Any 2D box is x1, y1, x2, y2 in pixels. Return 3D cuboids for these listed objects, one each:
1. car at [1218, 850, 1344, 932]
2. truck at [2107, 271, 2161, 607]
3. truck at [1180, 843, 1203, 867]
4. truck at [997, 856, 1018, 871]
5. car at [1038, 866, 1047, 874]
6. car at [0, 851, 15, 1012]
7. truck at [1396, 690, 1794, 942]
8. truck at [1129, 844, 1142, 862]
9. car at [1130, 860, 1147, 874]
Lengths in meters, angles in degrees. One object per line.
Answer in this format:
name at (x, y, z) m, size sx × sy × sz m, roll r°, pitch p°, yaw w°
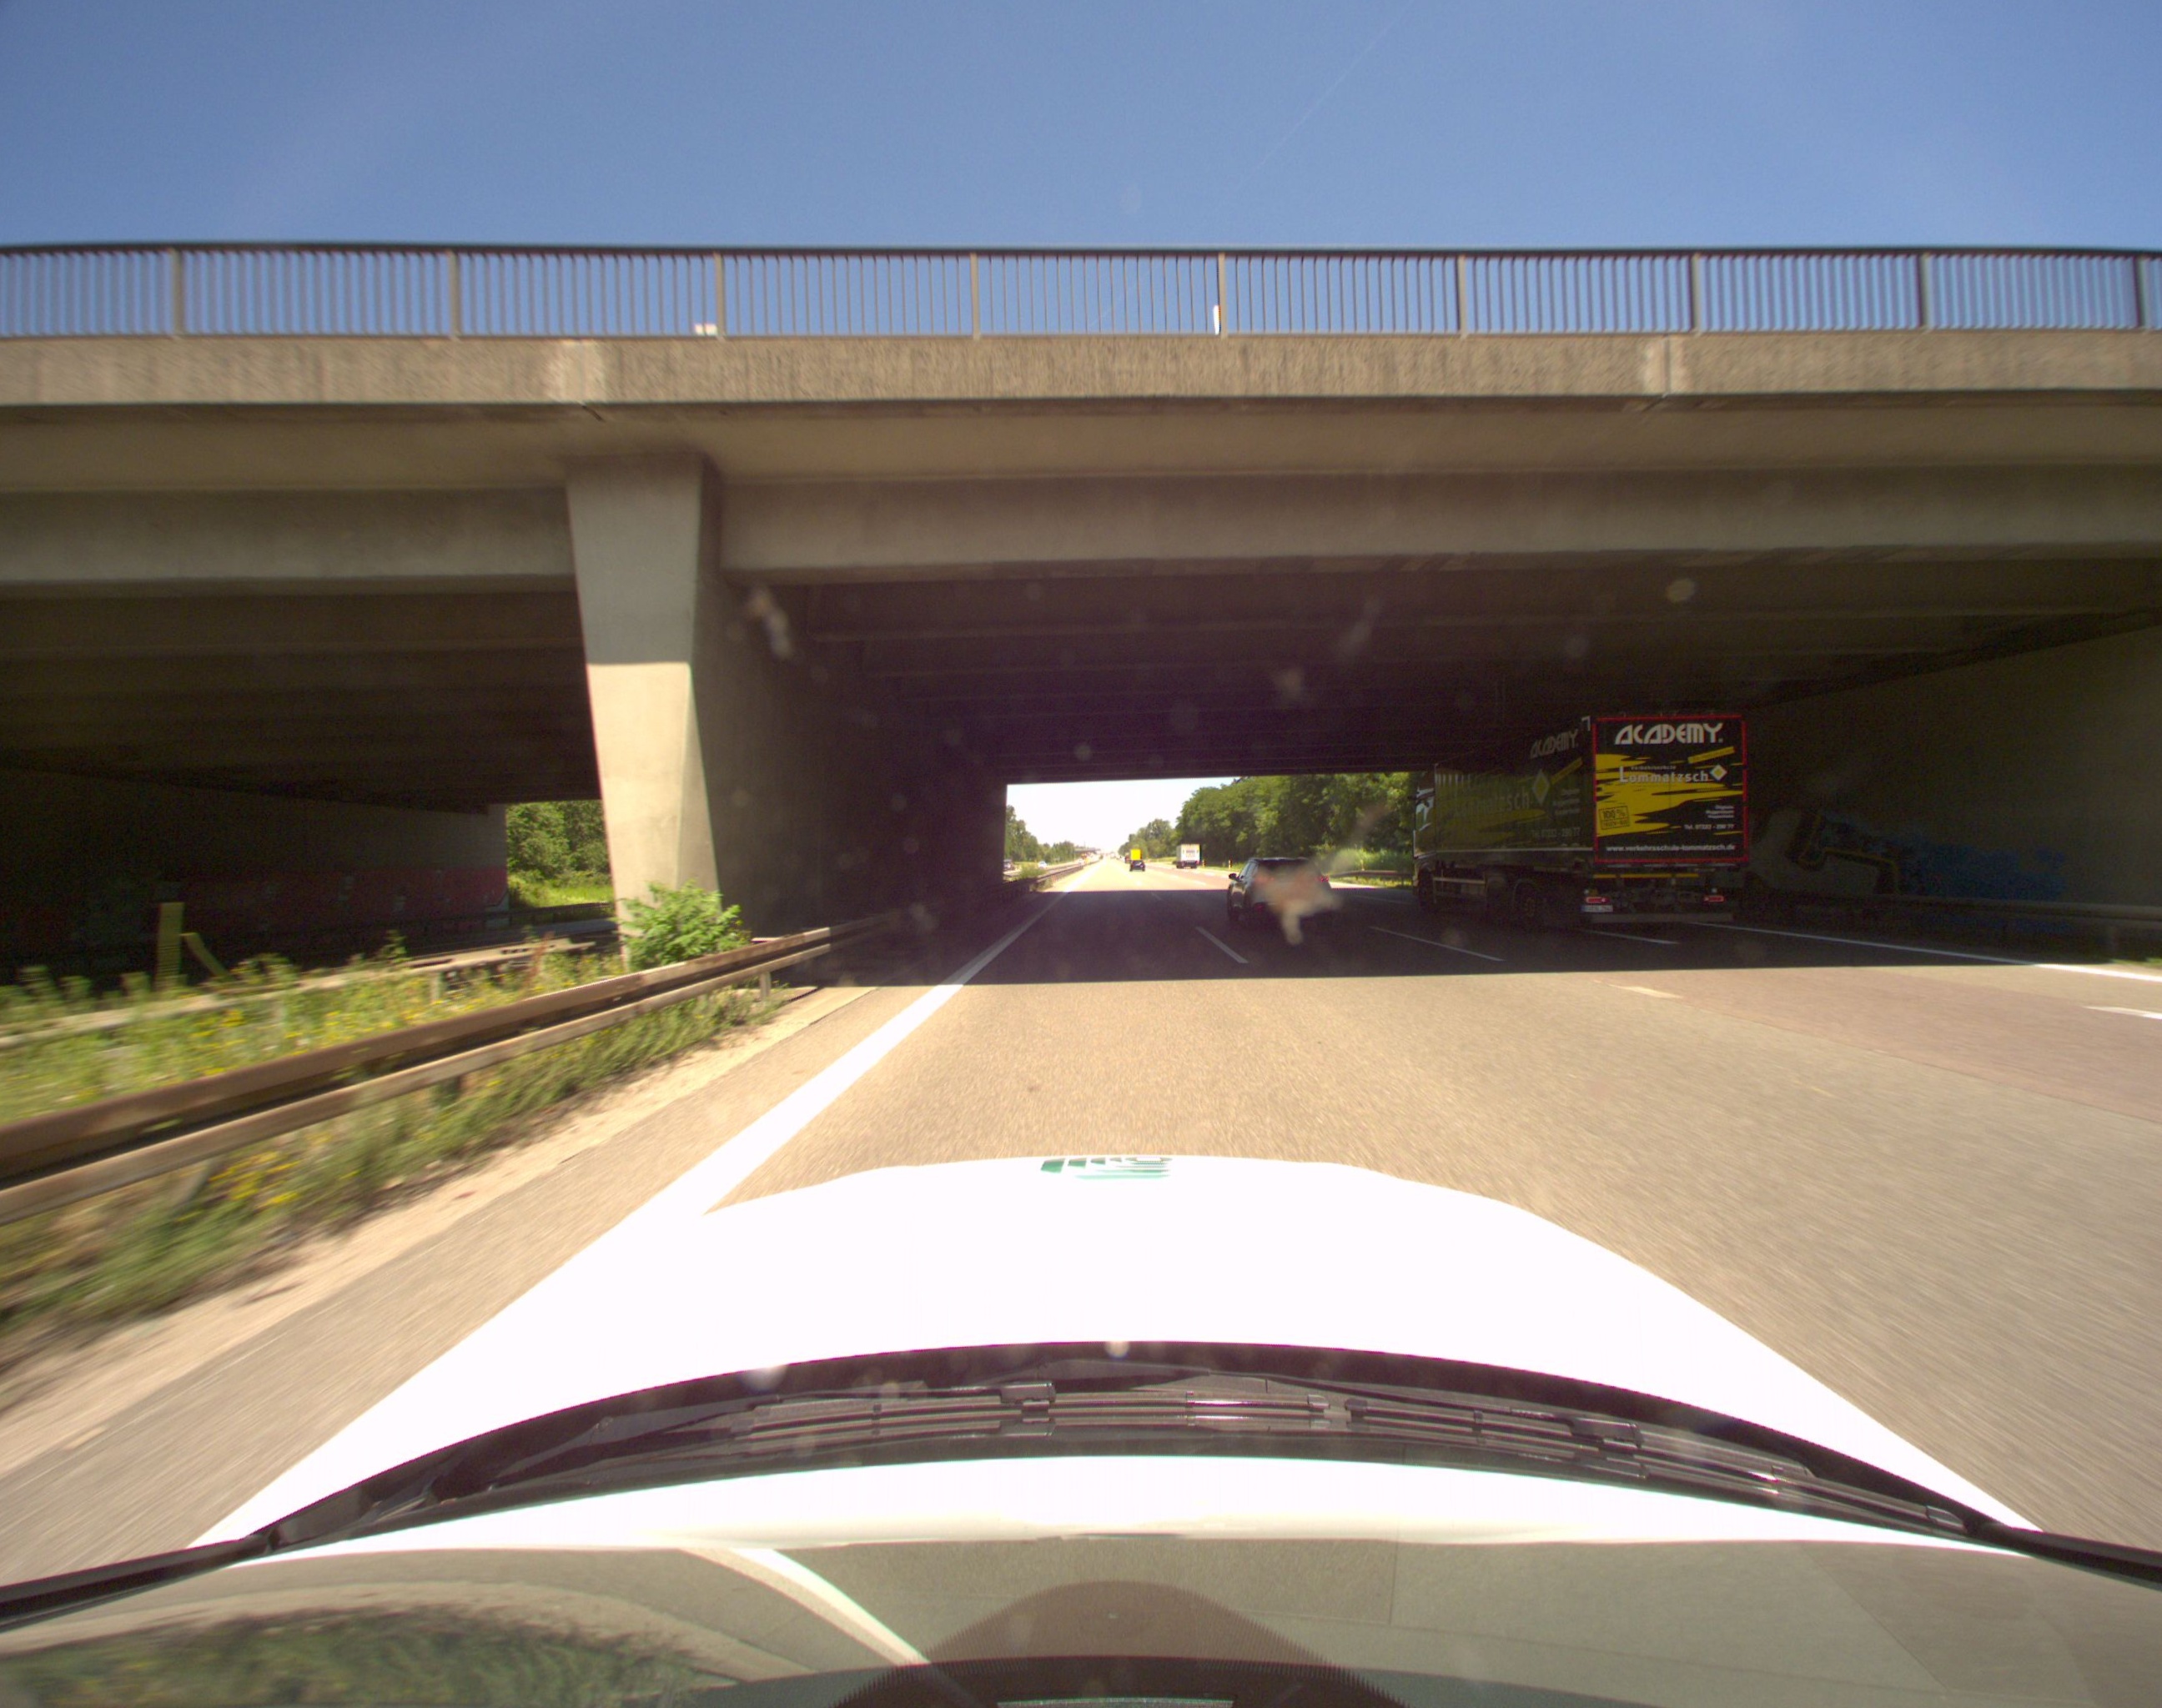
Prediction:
car at (4.431, 0.770, 18.805) m, size 1.820 × 1.608 × 4.810 m, roll -1°, pitch -1°, yaw 2°
truck at (26.799, -7.305, 13.582) m, size 16.425 × 5.566 × 3.171 m, roll -1°, pitch -1°, yaw -4°
truck at (16.085, 0.179, 119.235) m, size 3.013 × 3.319 × 10.789 m, roll -1°, pitch -1°, yaw 6°
truck at (-15.447, 1.977, 172.799) m, size 2.743 × 2.990 × 12.860 m, roll -3°, pitch -1°, yaw 2°
car at (-8.257, 3.493, 176.360) m, size 1.682 × 1.544 × 4.206 m, roll -1°, pitch -1°, yaw 2°
car at (-17.164, 1.135, 9.405) m, size 2.082 × 2.399 × 5.734 m, roll -1°, pitch -1°, yaw 1°
truck at (10.368, -0.570, 18.597) m, size 2.961 × 4.037 × 10.995 m, roll 0°, pitch -1°, yaw 5°
truck at (15.623, -0.294, 233.852) m, size 3.363 × 4.881 × 15.096 m, roll -1°, pitch -1°, yaw 3°
car at (6.937, 1.550, 98.199) m, size 1.820 × 1.706 × 4.001 m, roll -1°, pitch -1°, yaw 2°
